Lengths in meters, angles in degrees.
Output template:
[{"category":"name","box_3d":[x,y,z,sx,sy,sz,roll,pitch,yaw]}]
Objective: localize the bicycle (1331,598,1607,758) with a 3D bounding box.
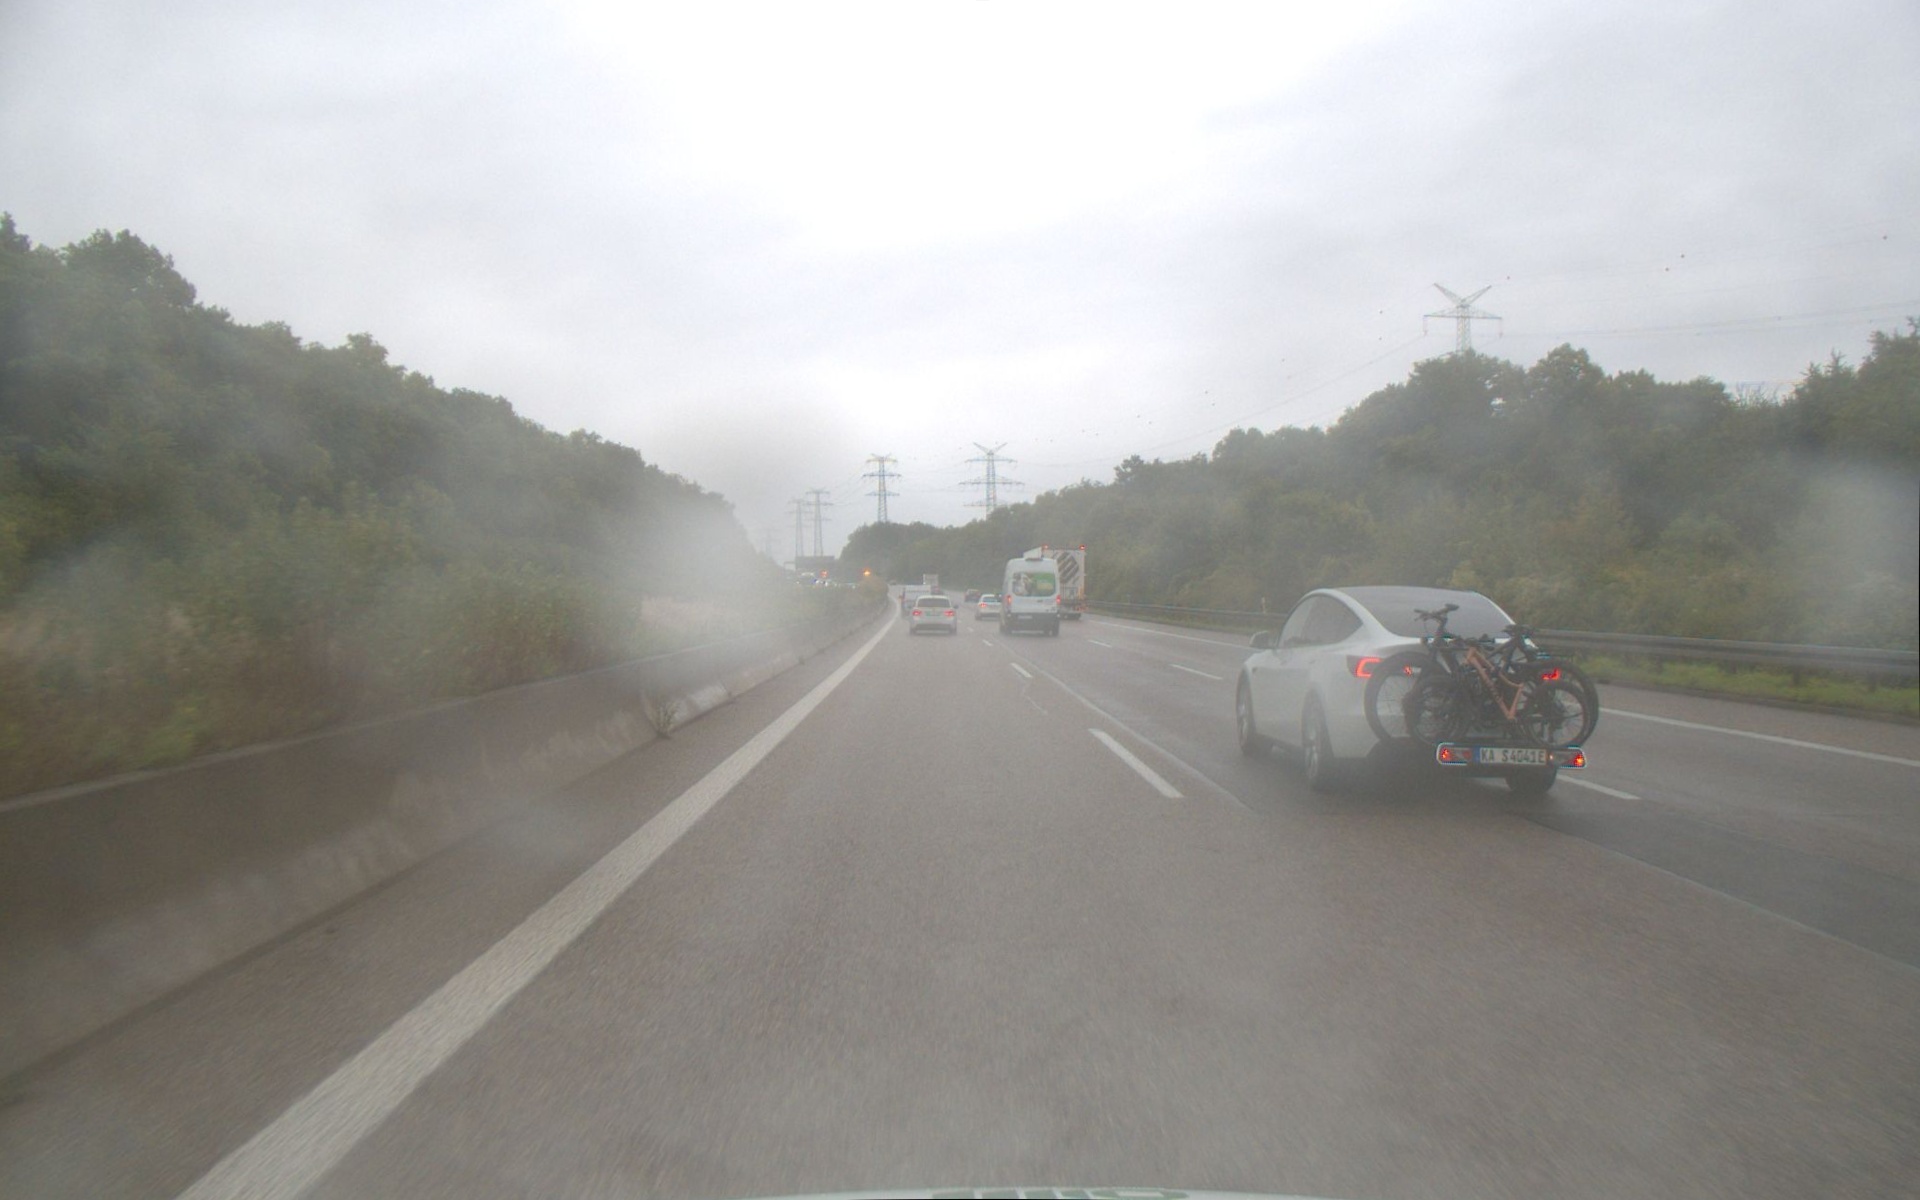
[{"category":"bicycle","box_3d":[3.632,0.549,11.934,1.717,1.110,0.914,0,-1,0]}]

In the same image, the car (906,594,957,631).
[{"category":"car","box_3d":[-1.027,0.439,61.142,1.828,1.310,4.000,-1,0,0]}]

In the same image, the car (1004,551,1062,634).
[{"category":"car","box_3d":[2.664,-0.280,61.122,1.952,2.914,4.000,-1,0,1]}]

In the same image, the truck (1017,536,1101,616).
[{"category":"truck","box_3d":[5.739,-1.375,98.513,3.531,4.408,13.192,-1,0,-3]}]

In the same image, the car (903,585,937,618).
[{"category":"car","box_3d":[-2.251,0.056,93.780,1.808,1.803,4.000,-1,0,0]}]

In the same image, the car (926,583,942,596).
[{"category":"car","box_3d":[-3.402,-1.311,216.757,1.953,1.601,3.999,-2,0,0]}]

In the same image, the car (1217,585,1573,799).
[{"category":"car","box_3d":[3.645,0.676,14.878,1.822,1.595,4.963,0,0,-1]}]

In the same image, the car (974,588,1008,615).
[{"category":"car","box_3d":[1.704,0.049,91.906,1.818,1.447,4.000,0,1,1]}]

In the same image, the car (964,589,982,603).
[{"category":"car","box_3d":[1.511,-0.499,190.889,1.953,1.512,3.999,-3,0,-1]}]
